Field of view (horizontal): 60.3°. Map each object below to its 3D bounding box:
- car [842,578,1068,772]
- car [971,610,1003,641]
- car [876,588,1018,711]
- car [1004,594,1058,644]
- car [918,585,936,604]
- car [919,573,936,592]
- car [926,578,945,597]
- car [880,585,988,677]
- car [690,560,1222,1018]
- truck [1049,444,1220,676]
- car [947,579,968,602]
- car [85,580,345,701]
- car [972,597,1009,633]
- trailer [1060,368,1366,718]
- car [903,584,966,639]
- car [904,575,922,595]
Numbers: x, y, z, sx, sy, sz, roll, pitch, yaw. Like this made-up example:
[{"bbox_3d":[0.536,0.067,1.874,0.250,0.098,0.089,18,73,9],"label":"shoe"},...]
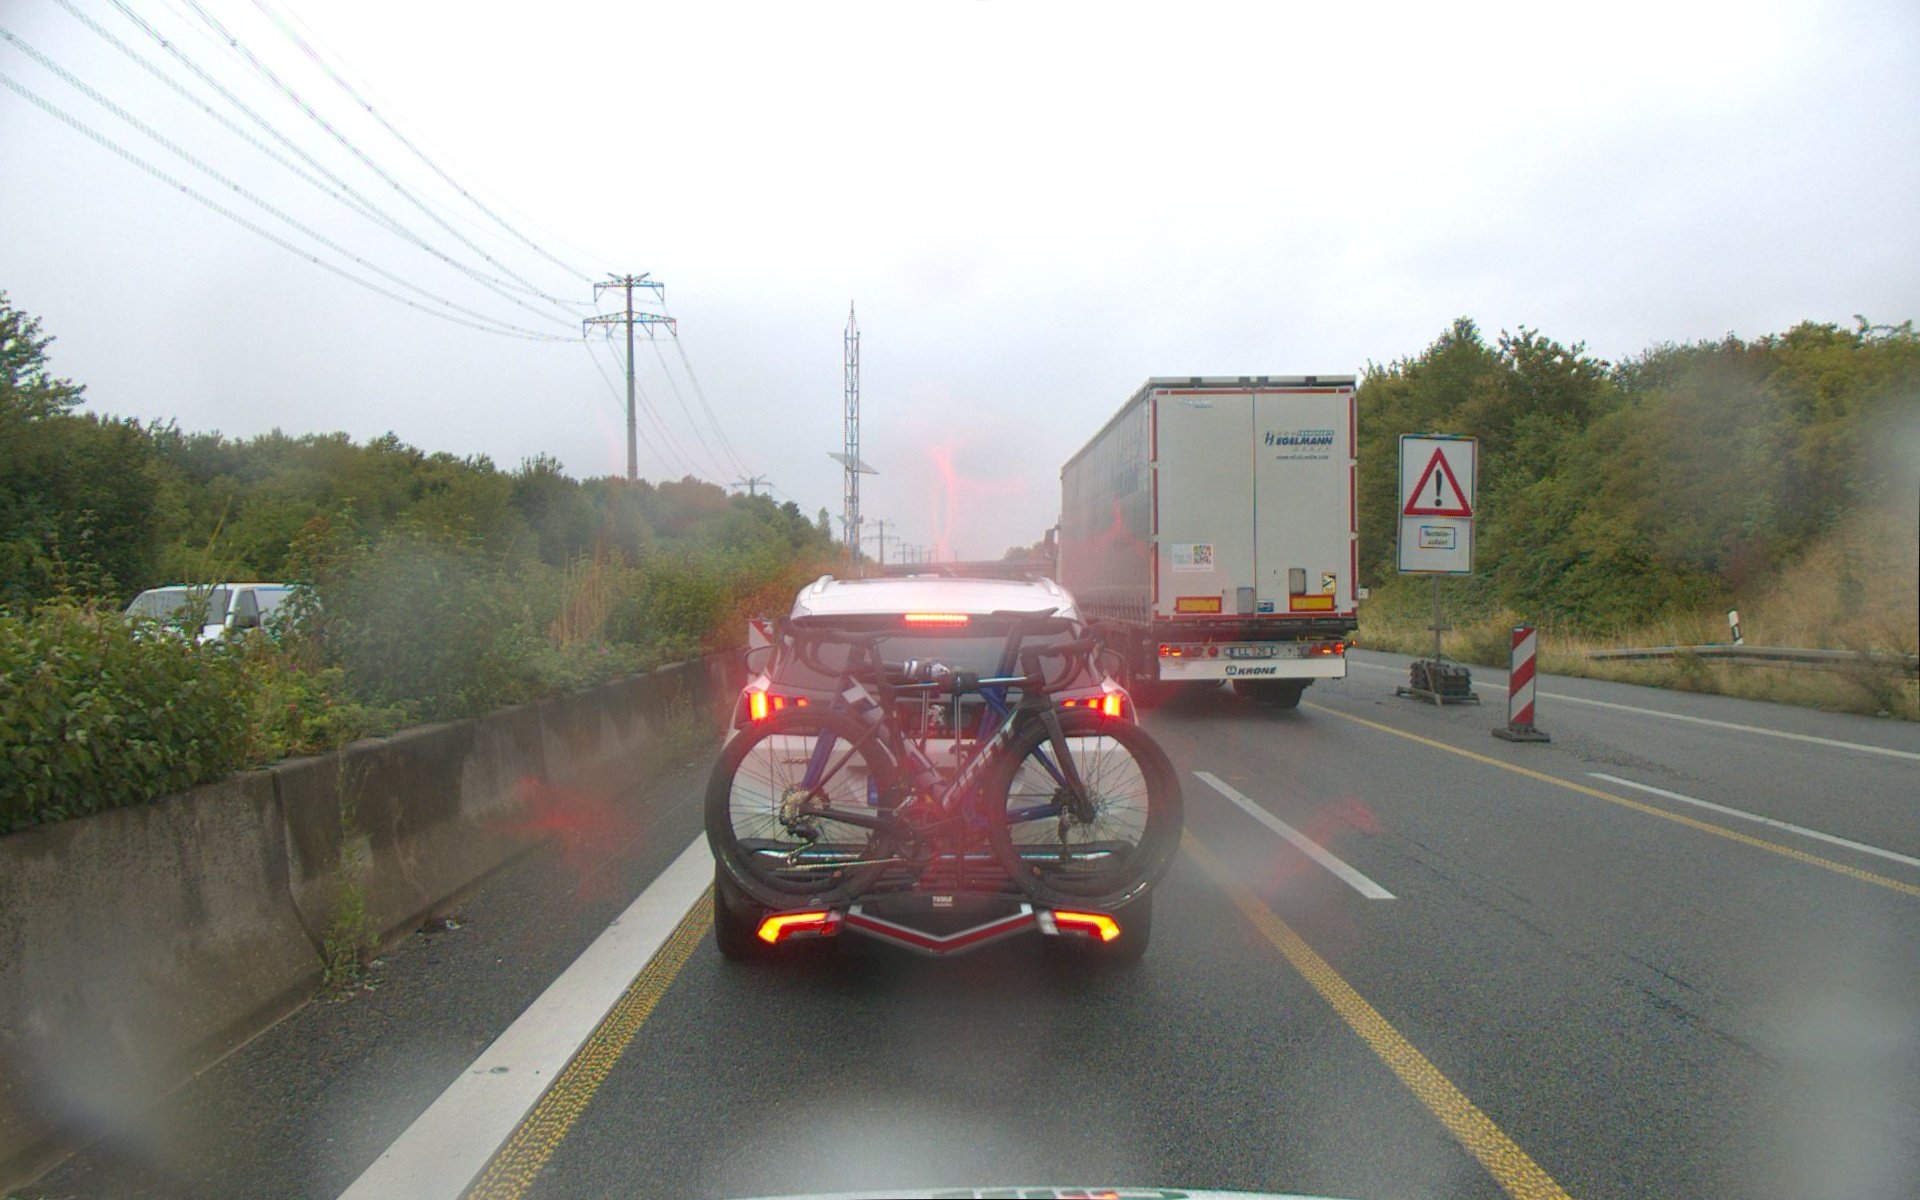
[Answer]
[{"bbox_3d":[-0.064,0.593,15.327,1.812,1.557,3.999,0,0,-1],"label":"car"},{"bbox_3d":[1.871,1.751,115.019,2.104,2.008,4.000,0,1,-1],"label":"car"},{"bbox_3d":[-0.194,0.625,23.156,1.812,1.557,3.999,0,0,-1],"label":"car"},{"bbox_3d":[2.982,0.779,70.619,2.067,2.008,4.000,0,1,-1],"label":"car"},{"bbox_3d":[-3.539,-0.626,177.720,1.892,2.008,4.000,0,1,-1],"label":"car"},{"bbox_3d":[-3.583,-1.968,183.143,1.892,2.008,4.000,0,1,-1],"label":"car"},{"bbox_3d":[-2.549,-1.309,170.814,1.892,1.944,4.000,0,1,-1],"label":"car"},{"bbox_3d":[-0.465,0.513,29.929,1.812,1.557,3.999,0,0,-1],"label":"car"},{"bbox_3d":[-0.044,0.637,8.034,1.812,1.557,4.768,0,0,-1],"label":"car"},{"bbox_3d":[3.304,-0.732,32.909,2.606,4.148,6.538,0,0,-1],"label":"truck"},{"bbox_3d":[-0.247,-0.900,150.219,1.892,2.008,4.000,0,1,-1],"label":"car"},{"bbox_3d":[-11.796,0.576,26.642,1.953,1.757,5.058,0,0,-1],"label":"car"},{"bbox_3d":[1.807,0.850,99.021,2.104,2.008,4.000,0,1,-1],"label":"car"},{"bbox_3d":[3.427,-0.710,26.527,2.638,4.148,13.631,0,0,-1],"label":"trailer"},{"bbox_3d":[-0.763,0.317,49.458,1.812,1.557,3.999,0,0,-1],"label":"car"},{"bbox_3d":[-6.182,-2.005,217.916,2.212,2.467,4.000,0,1,-1],"label":"car"}]
